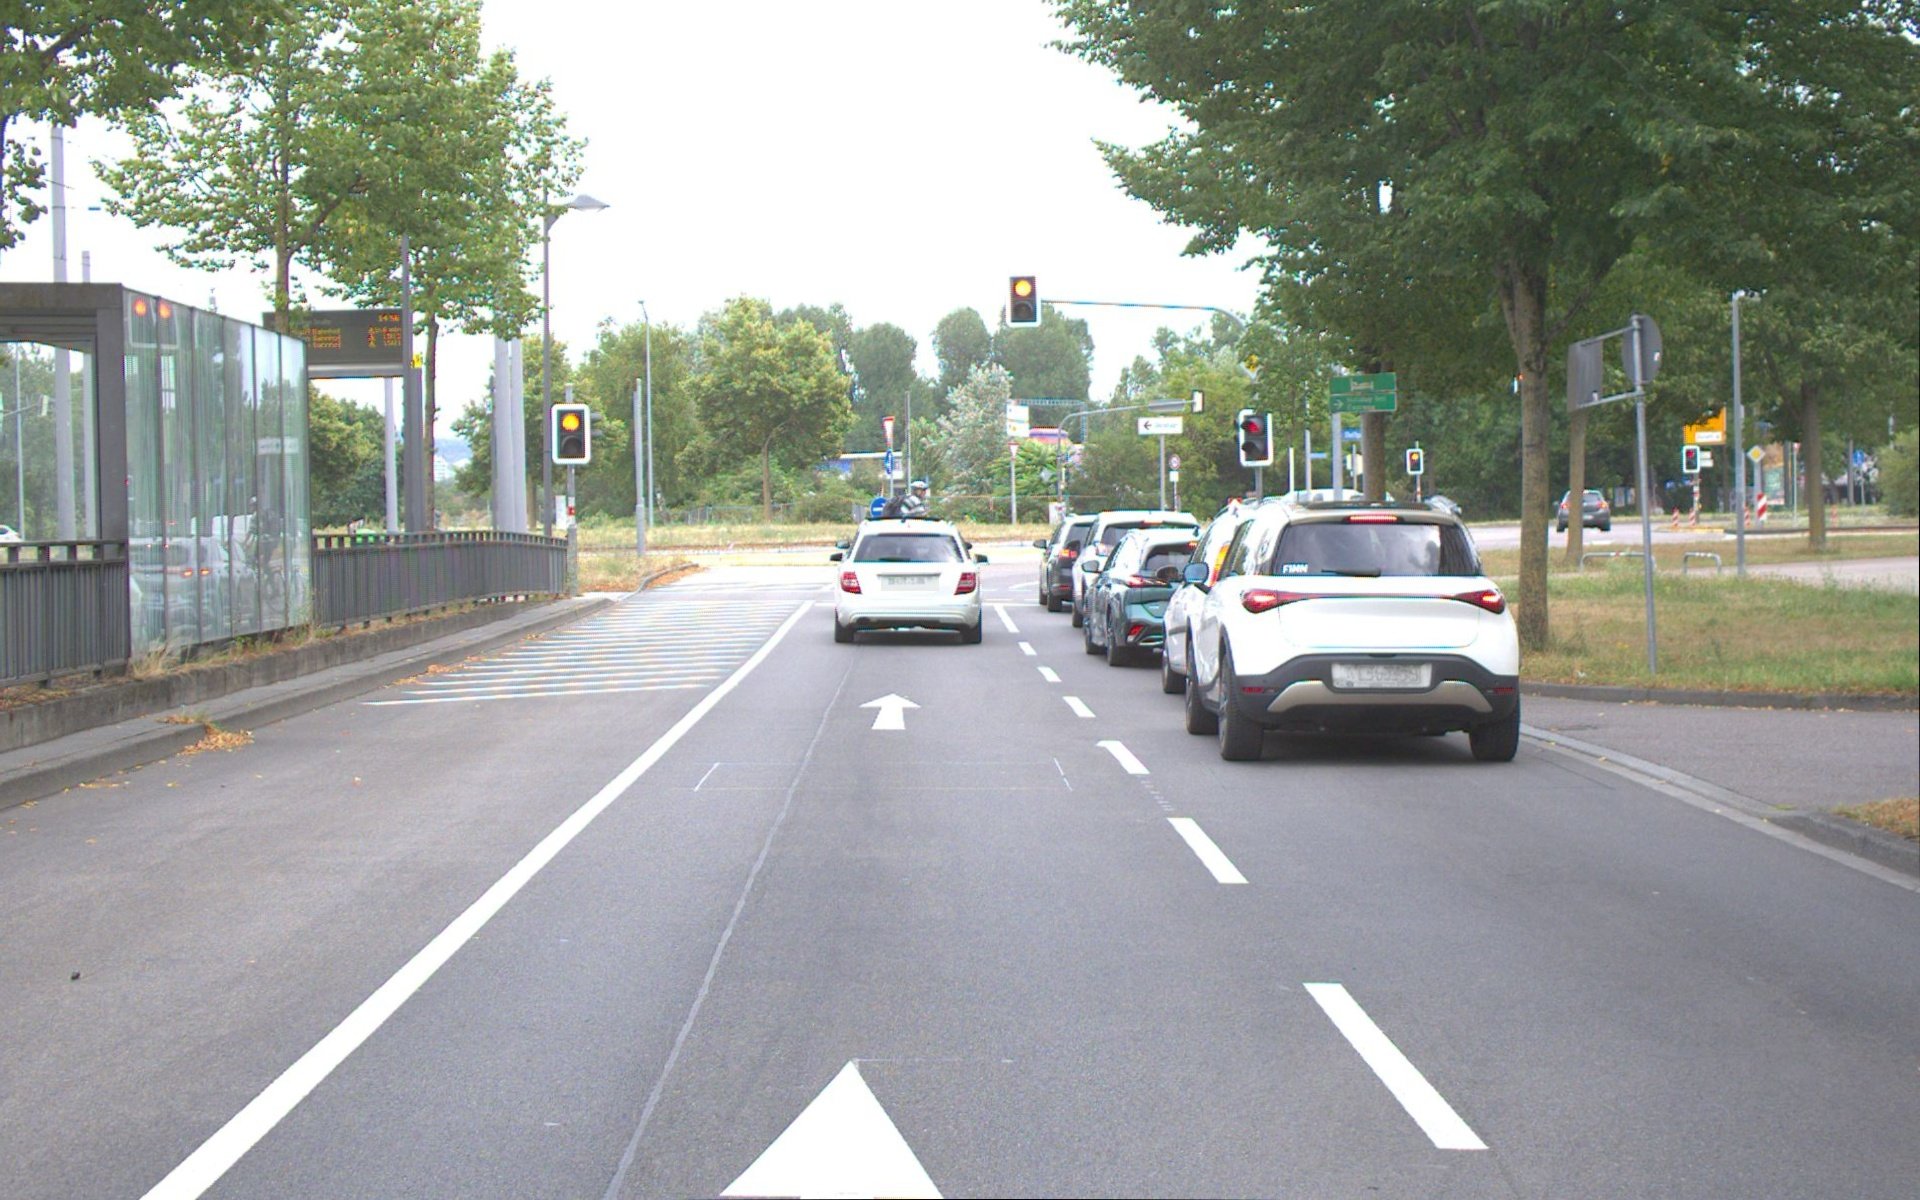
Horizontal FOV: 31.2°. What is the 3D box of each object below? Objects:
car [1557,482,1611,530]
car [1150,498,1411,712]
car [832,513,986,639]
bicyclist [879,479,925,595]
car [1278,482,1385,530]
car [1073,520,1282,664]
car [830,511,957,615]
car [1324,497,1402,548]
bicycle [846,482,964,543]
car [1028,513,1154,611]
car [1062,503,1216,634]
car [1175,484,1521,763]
[{"bbox_3d":[21.911,-3.295,120.798,1.784,1.630,4.400,-1,2,9],"label":"car"},{"bbox_3d":[2.634,-0.016,29.058,1.779,1.651,4.024,-1,2,0],"label":"car"},{"bbox_3d":[-0.661,-0.330,41.976,1.773,1.443,3.911,0,2,-2],"label":"car"},{"bbox_3d":[-0.971,-1.059,57.528,0.728,1.878,0.735,-1,6,-2],"label":"bicyclist"},{"bbox_3d":[15.944,-4.031,147.267,1.998,2.006,4.988,1,2,42],"label":"car"},{"bbox_3d":[2.284,-0.134,37.074,1.787,1.427,4.311,0,2,-3],"label":"car"},{"bbox_3d":[-1.007,-0.574,50.242,1.773,1.443,3.911,0,2,-2],"label":"car"},{"bbox_3d":[14.779,-2.847,126.265,1.993,1.784,4.001,1,1,-6],"label":"car"},{"bbox_3d":[-0.917,-1.459,57.282,1.933,0.980,0.565,-1,2,-1],"label":"bicycle"},{"bbox_3d":[1.985,-0.611,52.990,1.624,1.443,3.911,0,2,-2],"label":"car"},{"bbox_3d":[2.310,-0.449,45.189,1.787,1.619,3.911,-1,2,0],"label":"car"},{"bbox_3d":[2.465,0.083,22.711,1.779,1.651,4.024,-1,2,0],"label":"car"}]
